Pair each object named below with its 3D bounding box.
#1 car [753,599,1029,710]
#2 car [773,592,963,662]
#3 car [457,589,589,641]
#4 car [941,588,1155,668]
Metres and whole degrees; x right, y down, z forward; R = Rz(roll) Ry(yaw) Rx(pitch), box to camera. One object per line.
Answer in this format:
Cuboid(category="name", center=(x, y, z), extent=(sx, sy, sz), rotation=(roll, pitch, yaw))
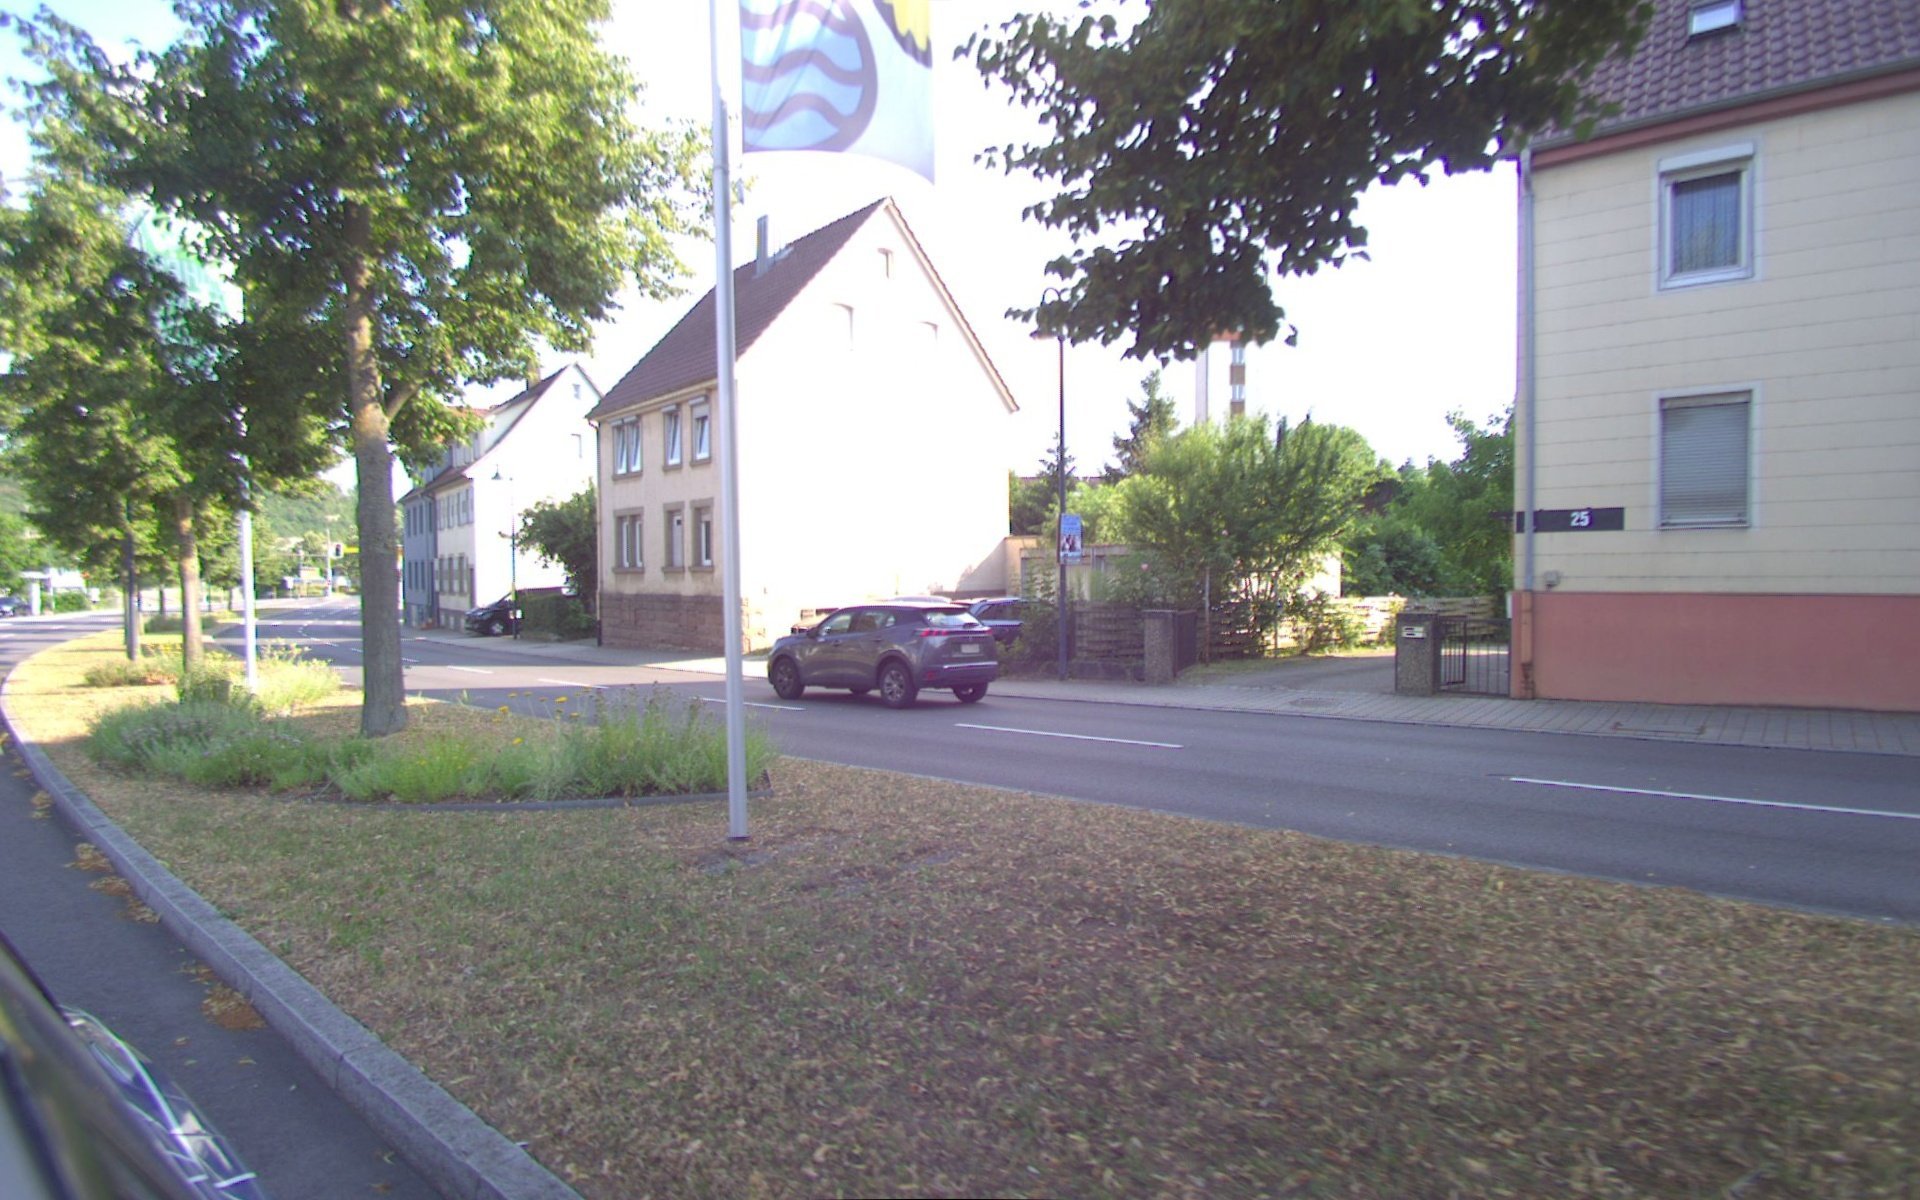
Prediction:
Cuboid(category="car", center=(-1.192, 0.760, 15.846), extent=(4.326, 1.497, 1.918), rotation=(-1, -1, 44))
Cuboid(category="car", center=(-2.291, 0.620, 25.537), extent=(4.287, 1.497, 2.017), rotation=(-2, 1, -32))
Cuboid(category="car", center=(-18.589, 0.587, 43.156), extent=(4.761, 1.891, 2.005), rotation=(-4, 2, -36))
Cuboid(category="car", center=(1.943, 0.548, 22.032), extent=(4.286, 1.497, 1.952), rotation=(-2, 1, -31))
